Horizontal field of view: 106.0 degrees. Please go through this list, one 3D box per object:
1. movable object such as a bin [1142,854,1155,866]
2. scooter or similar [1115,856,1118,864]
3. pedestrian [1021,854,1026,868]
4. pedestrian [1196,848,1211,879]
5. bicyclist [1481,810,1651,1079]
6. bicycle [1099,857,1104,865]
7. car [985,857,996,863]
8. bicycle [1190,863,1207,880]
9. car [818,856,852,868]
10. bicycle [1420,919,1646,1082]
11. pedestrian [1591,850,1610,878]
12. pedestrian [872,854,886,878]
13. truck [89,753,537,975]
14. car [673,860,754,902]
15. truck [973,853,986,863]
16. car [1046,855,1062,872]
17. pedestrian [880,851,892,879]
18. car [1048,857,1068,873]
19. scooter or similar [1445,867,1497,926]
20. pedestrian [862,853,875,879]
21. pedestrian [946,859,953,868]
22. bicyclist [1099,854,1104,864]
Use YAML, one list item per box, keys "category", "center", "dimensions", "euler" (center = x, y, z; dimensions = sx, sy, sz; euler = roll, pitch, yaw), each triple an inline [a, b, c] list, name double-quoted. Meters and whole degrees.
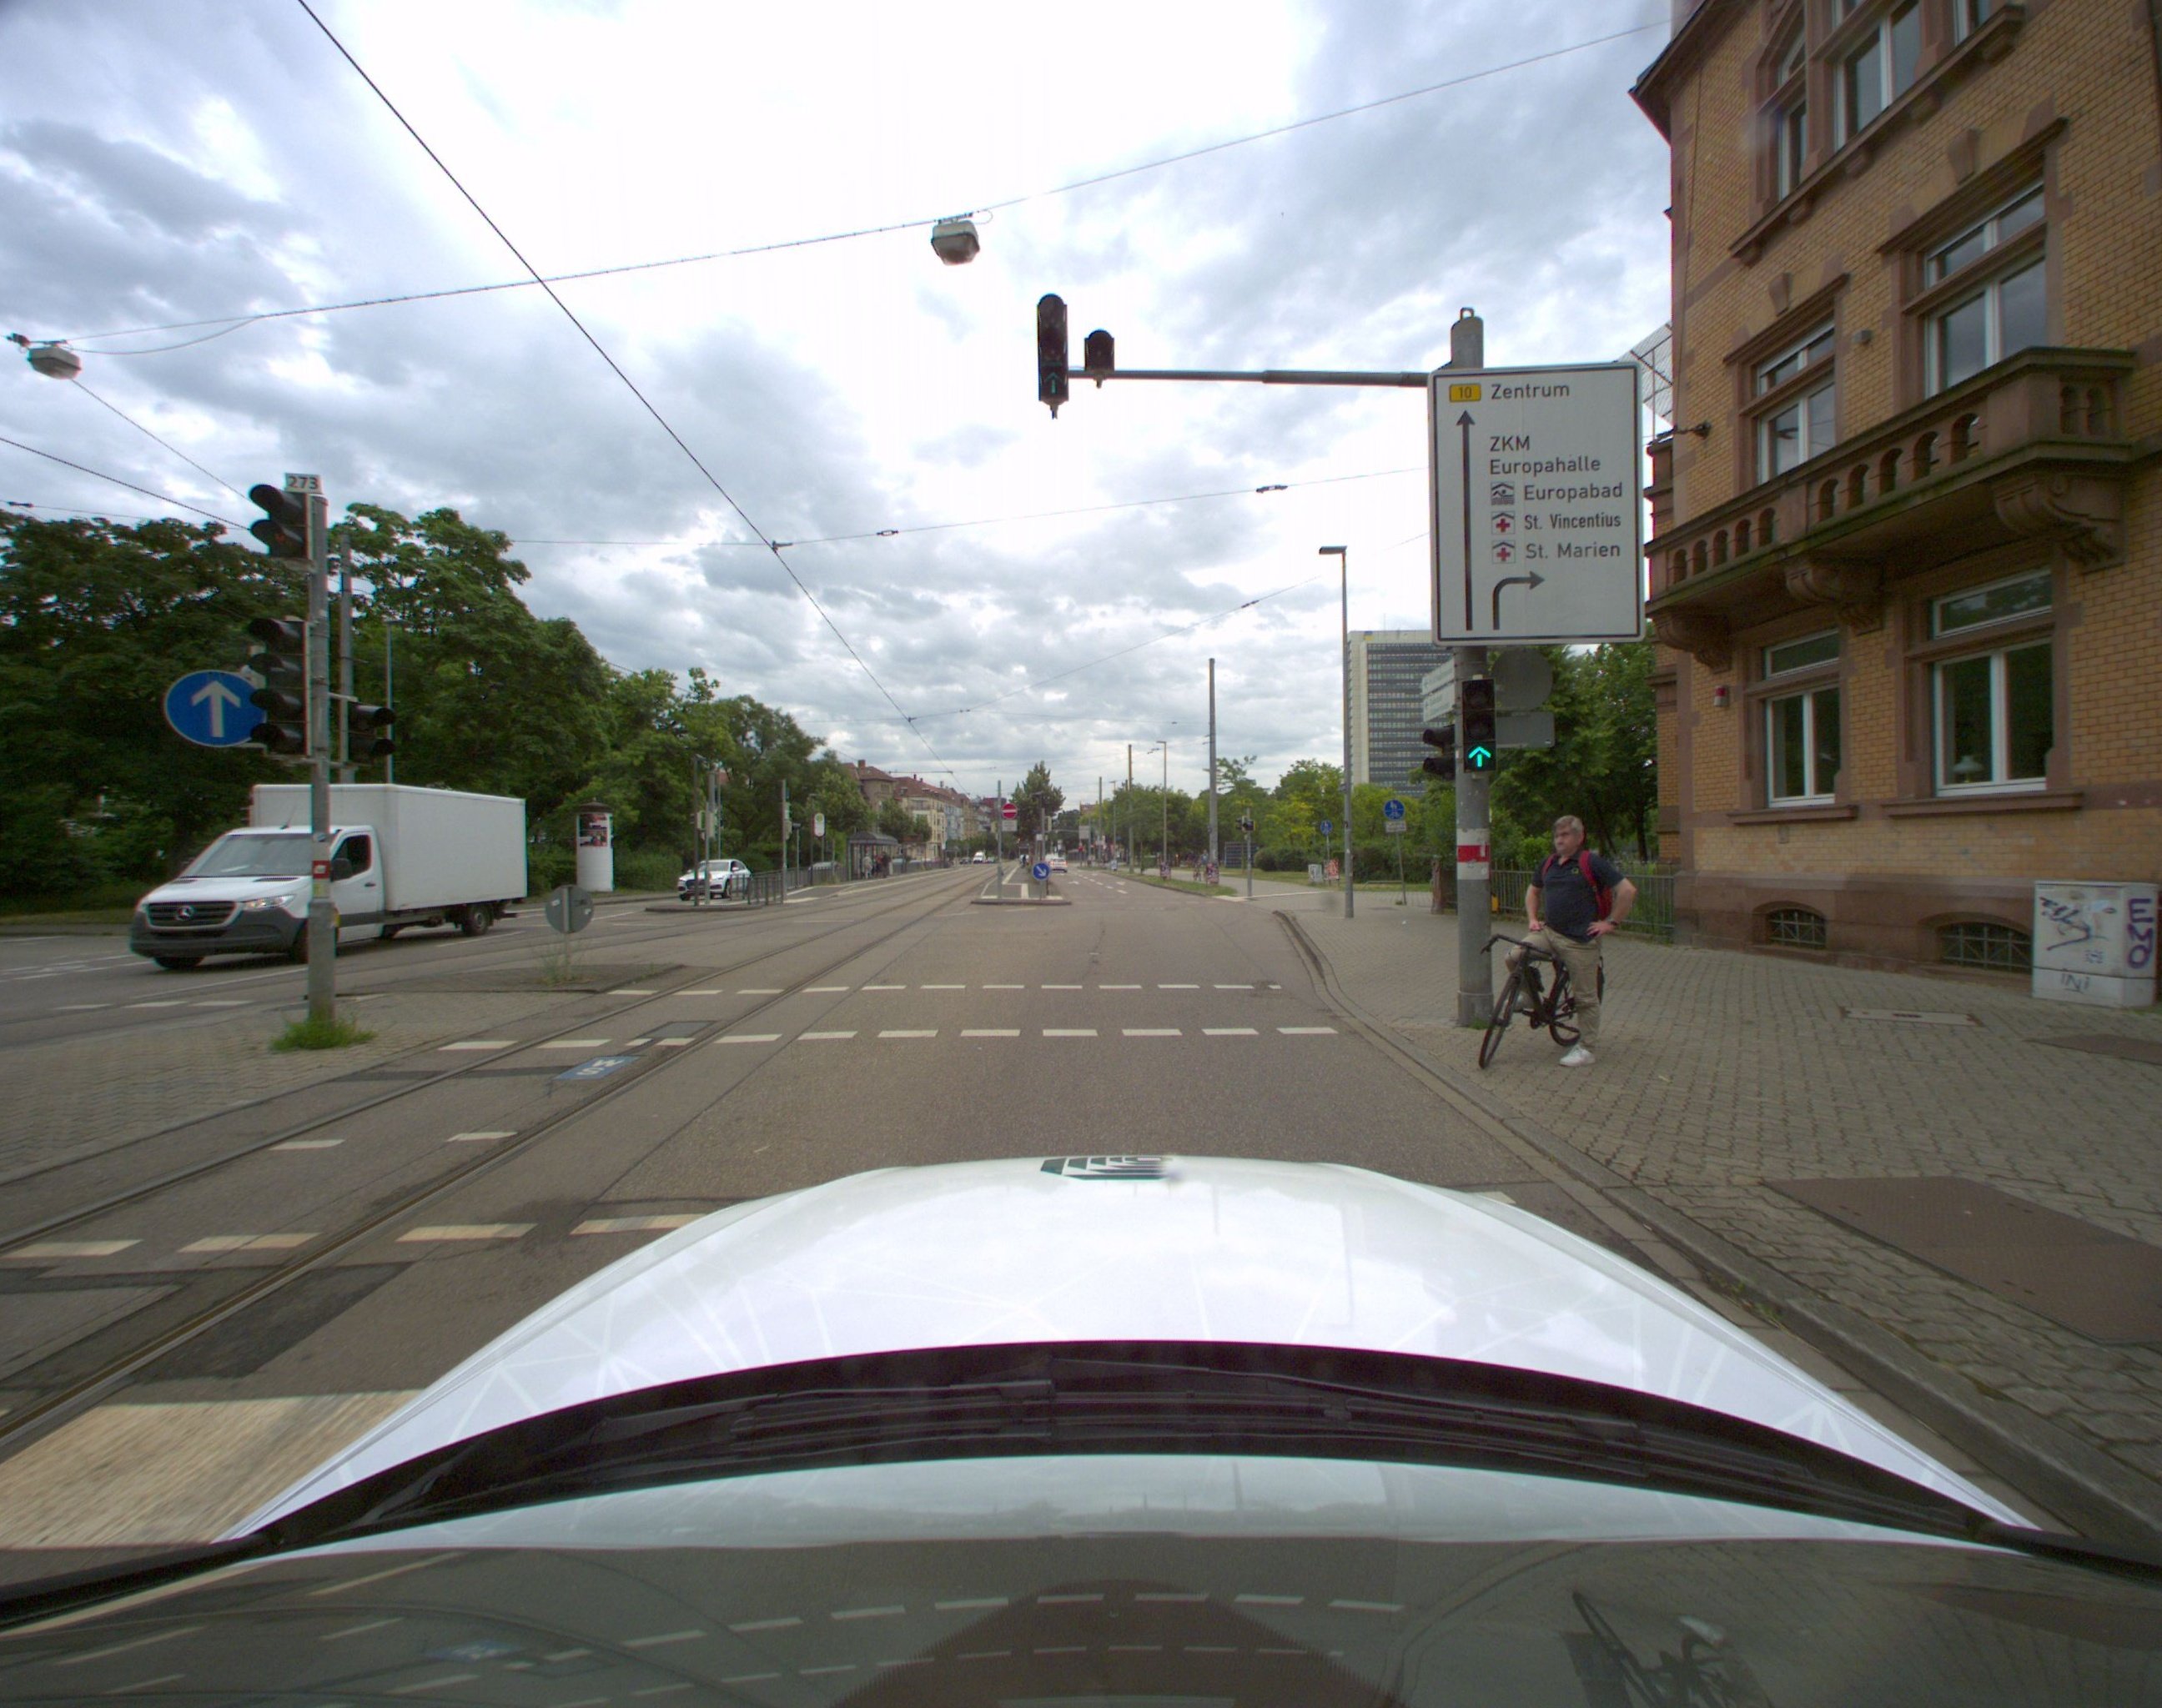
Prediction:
- category: "movable object such as a bin"
  center: [7.624, 0.682, 92.008]
  dimensions: [1.279, 1.390, 1.158]
  euler: [0, -1, -3]
- category: "scooter or similar"
  center: [5.143, 0.832, 118.078]
  dimensions: [0.374, 1.141, 1.202]
  euler: [-1, 0, 7]
- category: "pedestrian"
  center: [-6.526, 0.784, 92.389]
  dimensions: [0.530, 1.557, 0.570]
  euler: [-1, 0, 0]
- category: "pedestrian"
  center: [7.344, 0.555, 48.771]
  dimensions: [0.738, 1.869, 0.681]
  euler: [-1, 0, -4]
- category: "bicyclist"
  center: [3.563, 0.604, 6.010]
  dimensions: [0.685, 1.795, 0.881]
  euler: [0, 0, -35]
- category: "bicycle"
  center: [3.050, 1.064, 120.431]
  dimensions: [0.677, 1.155, 1.896]
  euler: [-1, 0, -2]
- category: "car"
  center: [-20.618, 1.396, 185.279]
  dimensions: [1.763, 1.493, 3.889]
  euler: [0, 0, 2]
- category: "bicycle"
  center: [7.042, 1.026, 48.679]
  dimensions: [0.653, 1.003, 1.777]
  euler: [-1, 0, -4]
- category: "car"
  center: [-31.861, 1.050, 105.535]
  dimensions: [3.867, 1.493, 1.773]
  euler: [0, -1, -4]
- category: "bicycle"
  center: [3.454, 1.020, 6.161]
  dimensions: [1.876, 0.924, 0.788]
  euler: [0, 0, -36]
- category: "pedestrian"
  center: [23.019, 0.439, 36.072]
  dimensions: [0.585, 1.183, 0.630]
  euler: [-1, 0, 45]
- category: "pedestrian"
  center: [-13.719, 0.806, 55.214]
  dimensions: [0.768, 1.660, 1.022]
  euler: [-1, 0, -7]
- category: "truck"
  center: [-13.437, 0.161, 15.360]
  dimensions: [2.182, 3.157, 7.314]
  euler: [0, 0, -7]
- category: "car"
  center: [-15.460, 1.090, 34.507]
  dimensions: [1.768, 1.639, 4.528]
  euler: [0, 0, -6]
- category: "truck"
  center: [-21.303, 0.767, 171.671]
  dimensions: [1.780, 2.032, 5.399]
  euler: [0, 0, 2]
- category: "car"
  center: [-3.228, 1.107, 96.434]
  dimensions: [1.779, 1.962, 4.375]
  euler: [0, 0, -4]
- category: "pedestrian"
  center: [-12.458, 0.698, 51.930]
  dimensions: [0.700, 1.715, 0.696]
  euler: [-1, 0, -12]
- category: "car"
  center: [-2.240, 1.023, 78.961]
  dimensions: [1.779, 1.472, 4.004]
  euler: [0, 0, -4]
- category: "scooter or similar"
  center: [8.017, 0.849, 16.782]
  dimensions: [0.375, 1.141, 1.197]
  euler: [-1, 0, -6]
- category: "pedestrian"
  center: [-13.697, 0.753, 52.472]
  dimensions: [0.676, 1.624, 0.633]
  euler: [-1, 0, -4]
- category: "pedestrian"
  center: [-17.395, 1.274, 108.090]
  dimensions: [0.864, 1.267, 0.692]
  euler: [-1, 0, -6]
- category: "bicyclist"
  center: [3.032, 0.760, 120.440]
  dimensions: [0.677, 1.379, 0.727]
  euler: [-1, 0, -2]
